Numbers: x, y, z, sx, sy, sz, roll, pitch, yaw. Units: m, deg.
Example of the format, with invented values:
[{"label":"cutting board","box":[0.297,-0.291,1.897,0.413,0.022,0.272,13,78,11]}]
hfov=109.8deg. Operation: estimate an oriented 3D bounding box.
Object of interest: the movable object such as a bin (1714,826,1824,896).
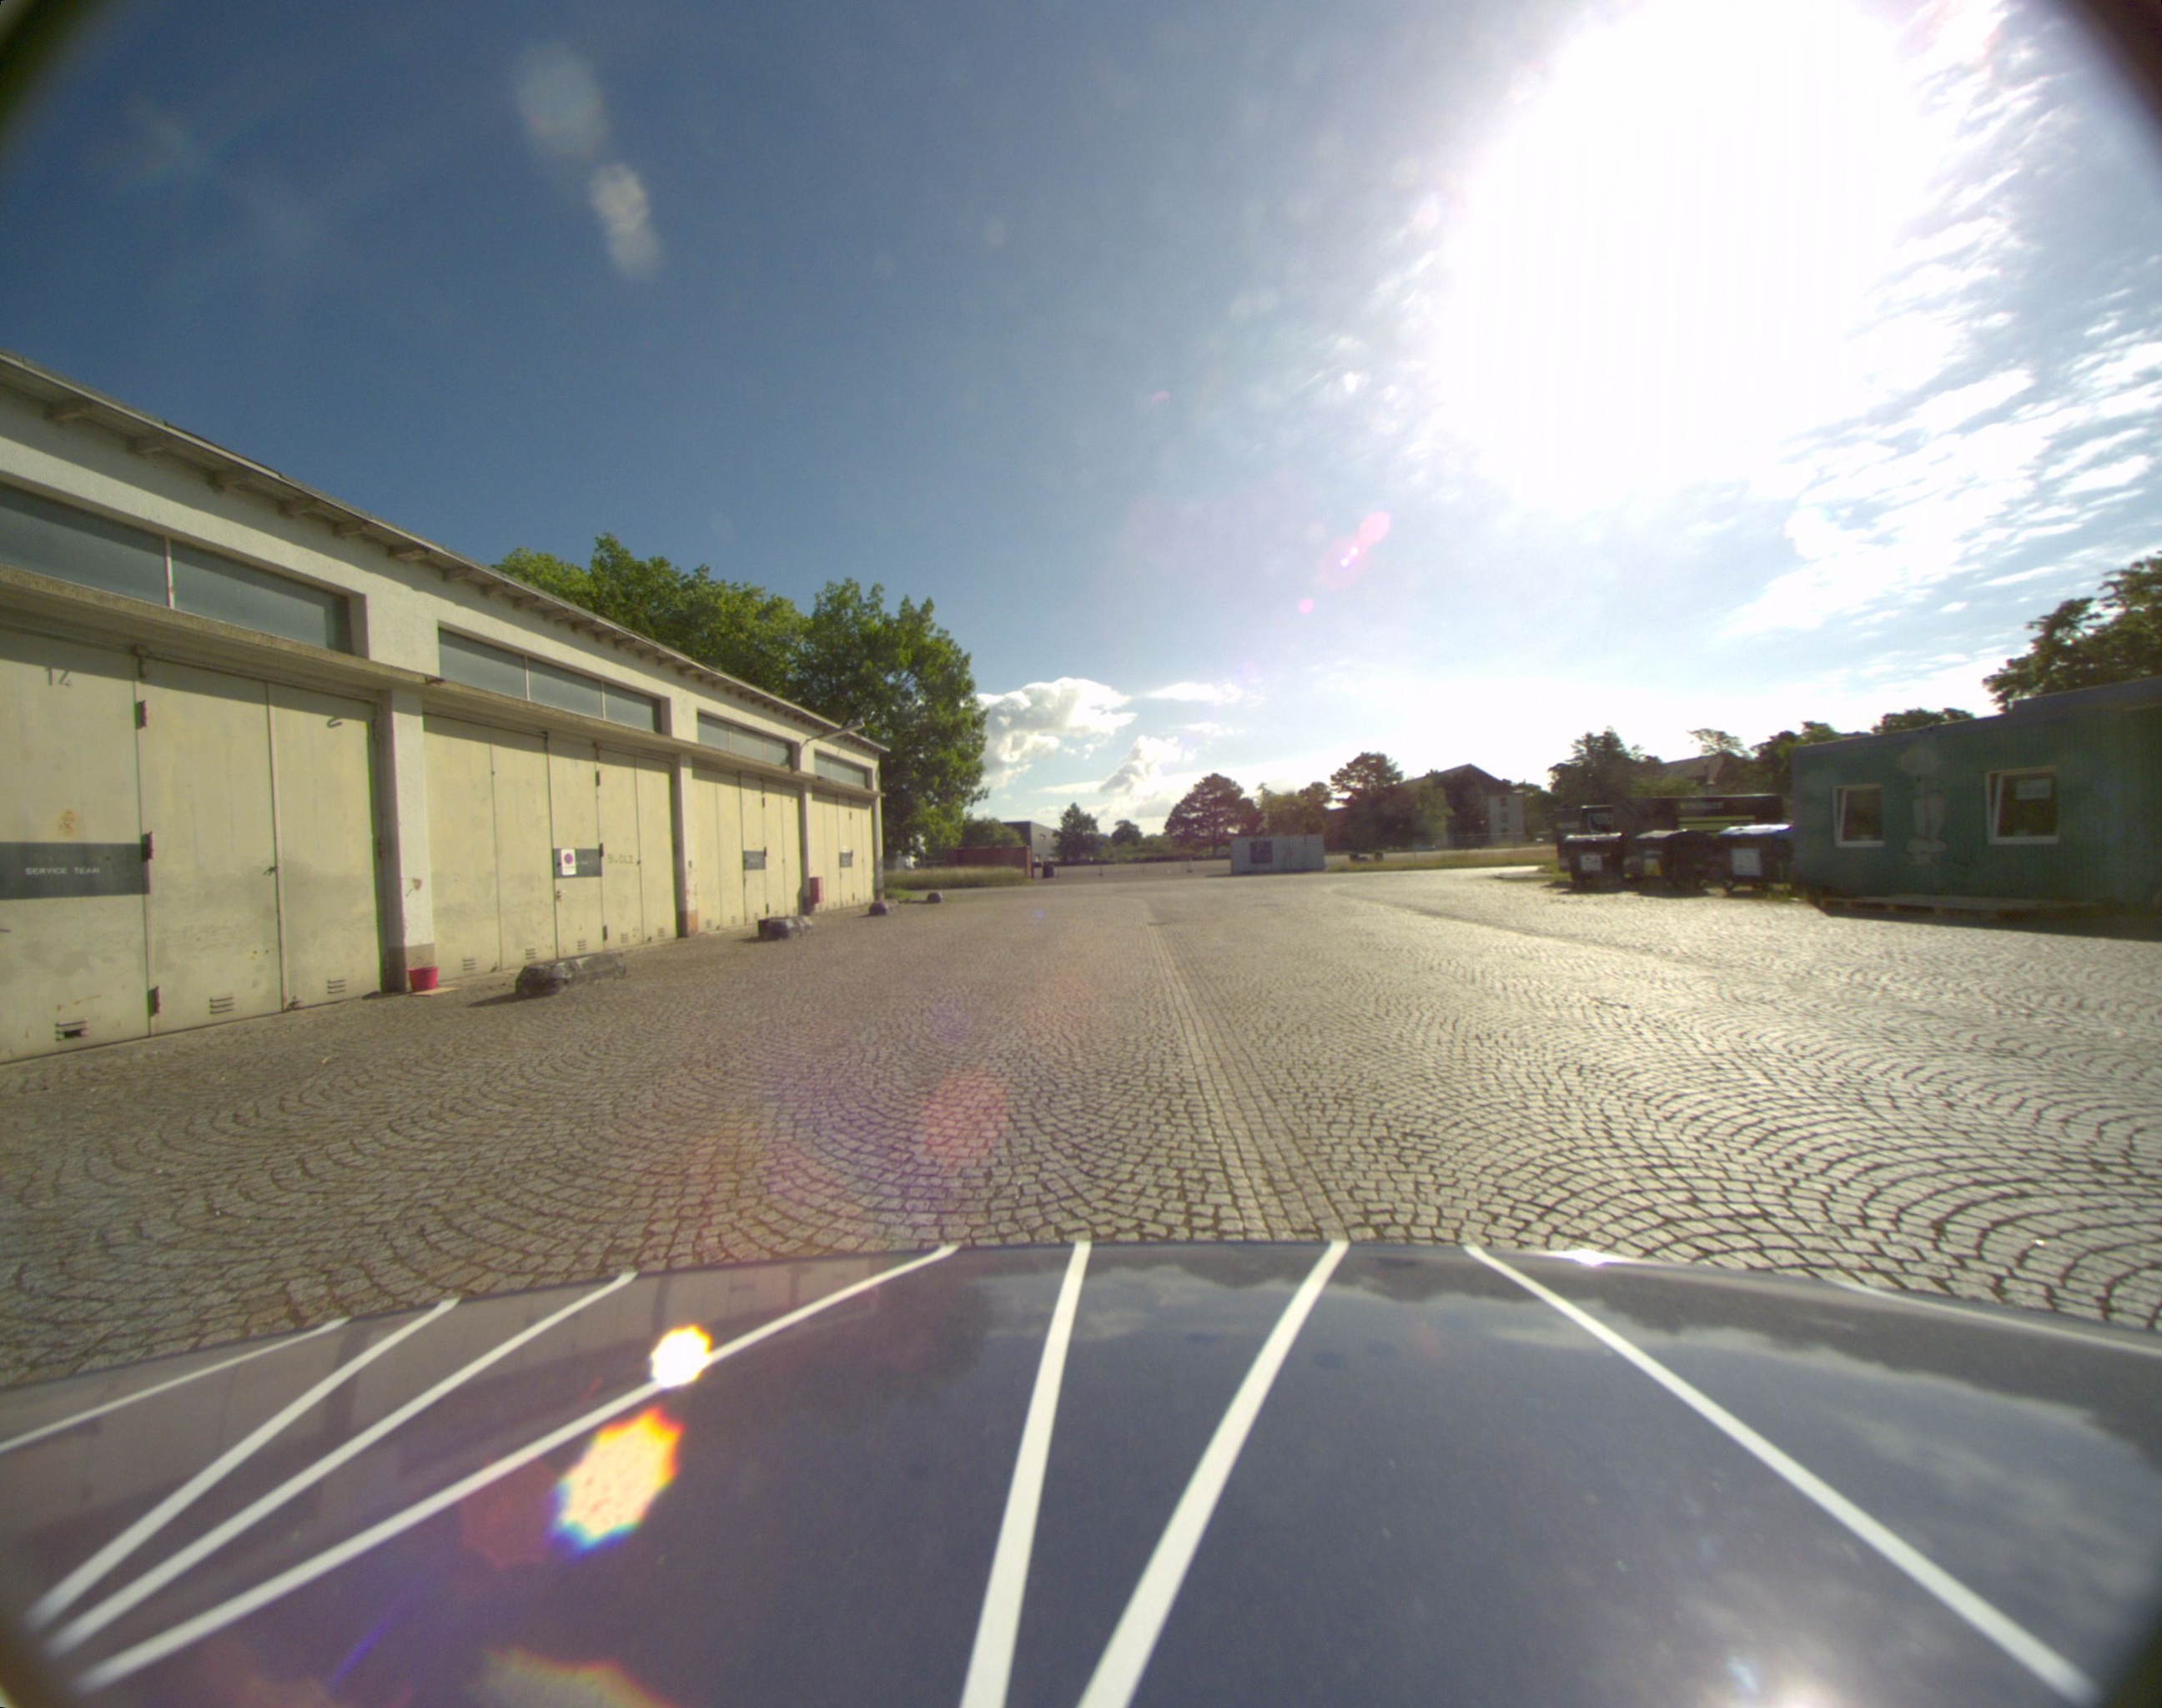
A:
[{"label":"movable object such as a bin","box":[15.152,0.148,16.788,1.088,1.428,1.408,-3,0,-8]}]

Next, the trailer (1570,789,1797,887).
[{"label":"trailer","box":[16.924,-0.433,21.515,4.852,2.377,1.942,-3,1,-2]}]

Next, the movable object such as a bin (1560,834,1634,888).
[{"label":"movable object such as a bin","box":[13.954,0.201,20.553,1.049,1.377,1.361,-3,1,-39]}]

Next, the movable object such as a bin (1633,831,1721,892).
[{"label":"movable object such as a bin","box":[14.382,0.169,18.390,1.083,1.377,1.369,-3,0,7]}]

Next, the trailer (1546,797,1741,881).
[{"label":"trailer","box":[17.513,-0.443,23.861,4.464,2.260,2.014,-4,0,3]}]
